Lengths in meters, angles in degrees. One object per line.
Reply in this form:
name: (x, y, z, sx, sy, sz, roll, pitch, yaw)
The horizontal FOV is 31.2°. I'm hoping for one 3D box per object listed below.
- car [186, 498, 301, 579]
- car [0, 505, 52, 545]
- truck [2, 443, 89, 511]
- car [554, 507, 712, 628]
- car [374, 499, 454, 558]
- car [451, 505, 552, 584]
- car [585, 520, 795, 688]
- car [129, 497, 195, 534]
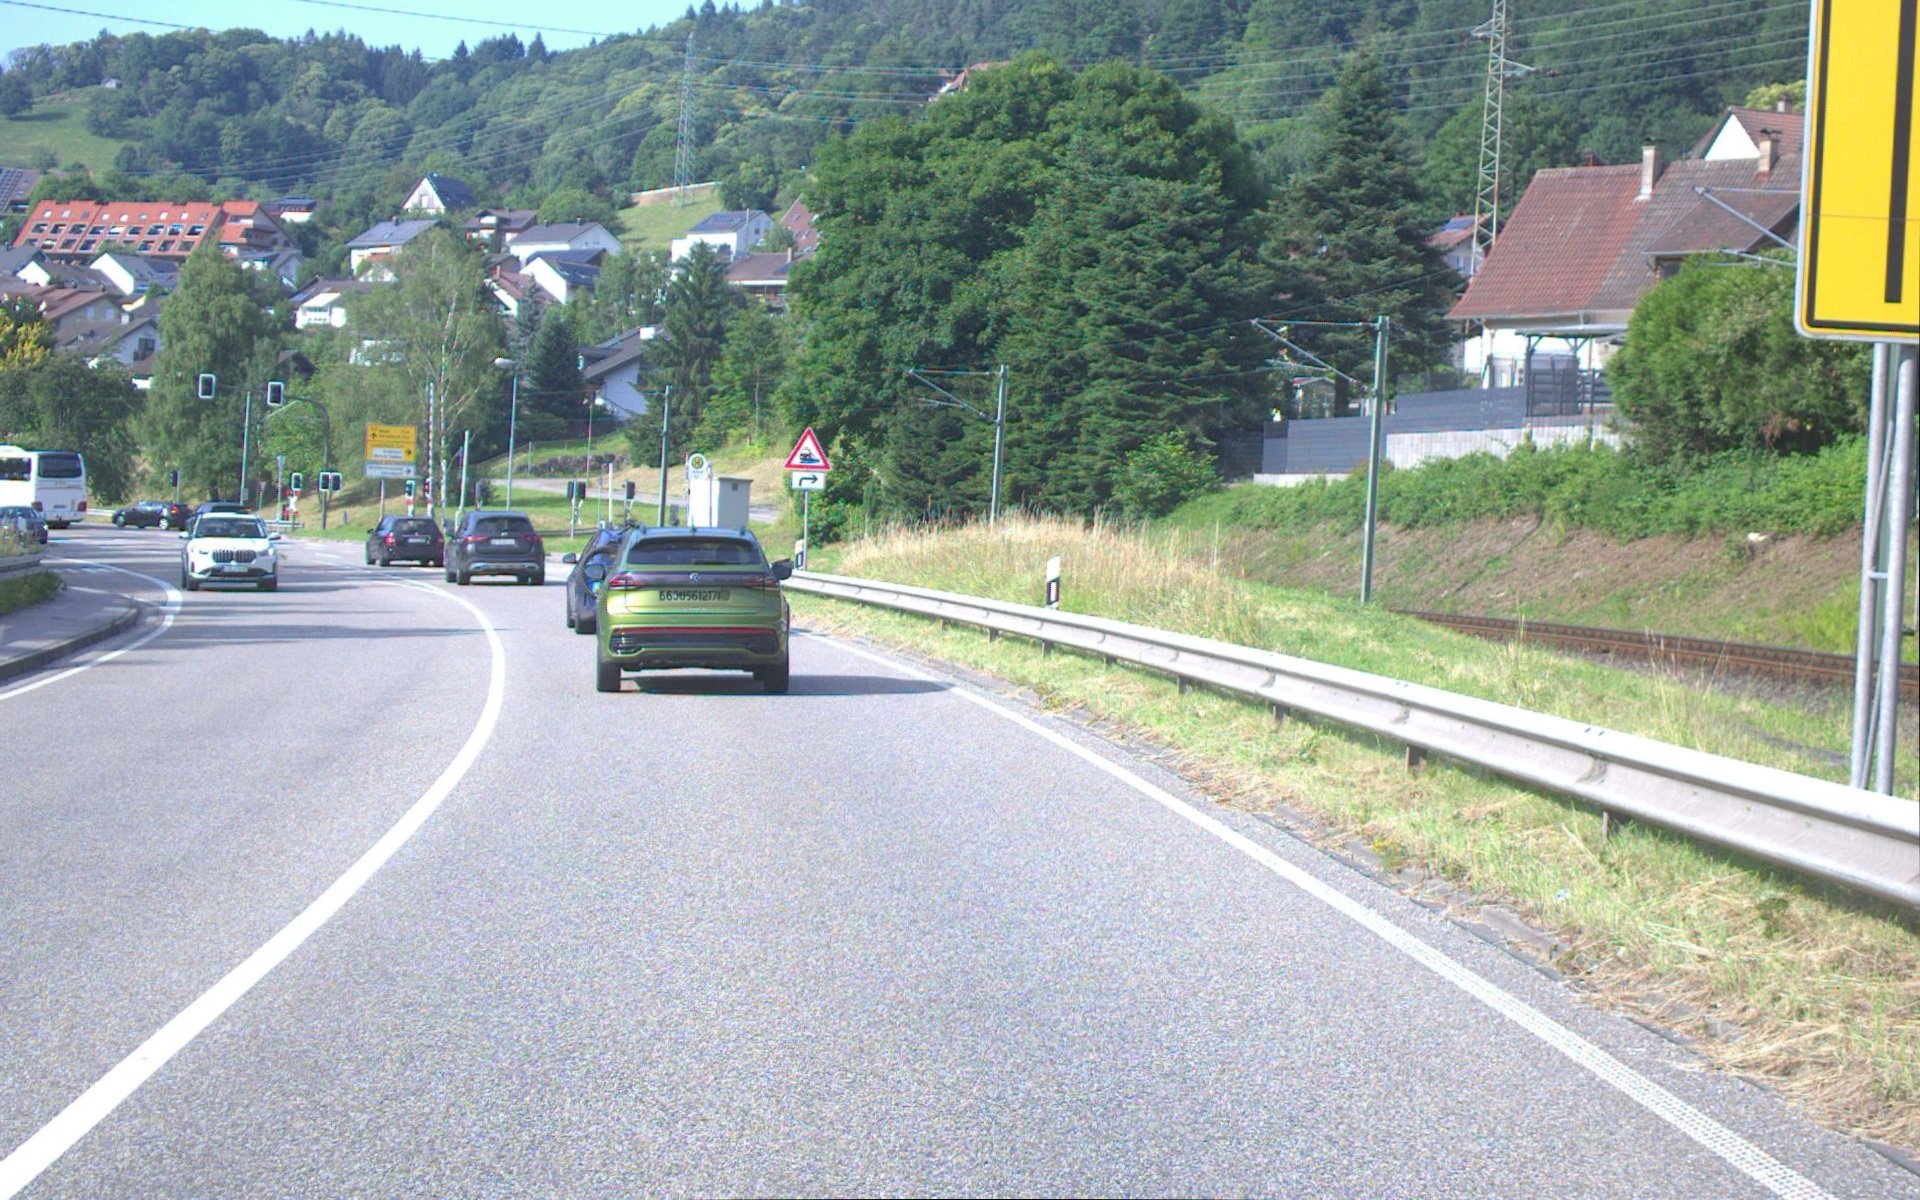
car: (-15.115, -1.312, 72.386, 1.993, 1.624, 4.001, 0, 1, -17)
car: (-35.527, -2.852, 130.640, 1.890, 1.483, 4.001, -1, 2, -15)
truck: (-42.739, -5.778, 160.616, 2.711, 3.073, 6.110, -2, 3, -26)
car: (-4.533, -0.474, 47.216, 1.666, 1.554, 4.001, 1, 1, -12)
car: (-15.389, -2.012, 96.721, 1.848, 1.521, 3.664, 3, 1, -14)
car: (-10.284, -1.251, 76.964, 1.879, 1.681, 4.001, 1, 1, -12)
car: (-2.555, -0.014, 31.828, 1.714, 1.450, 4.001, 0, 1, -8)
car: (-39.352, -4.175, 169.525, 1.993, 1.739, 4.000, 1, 1, -31)
